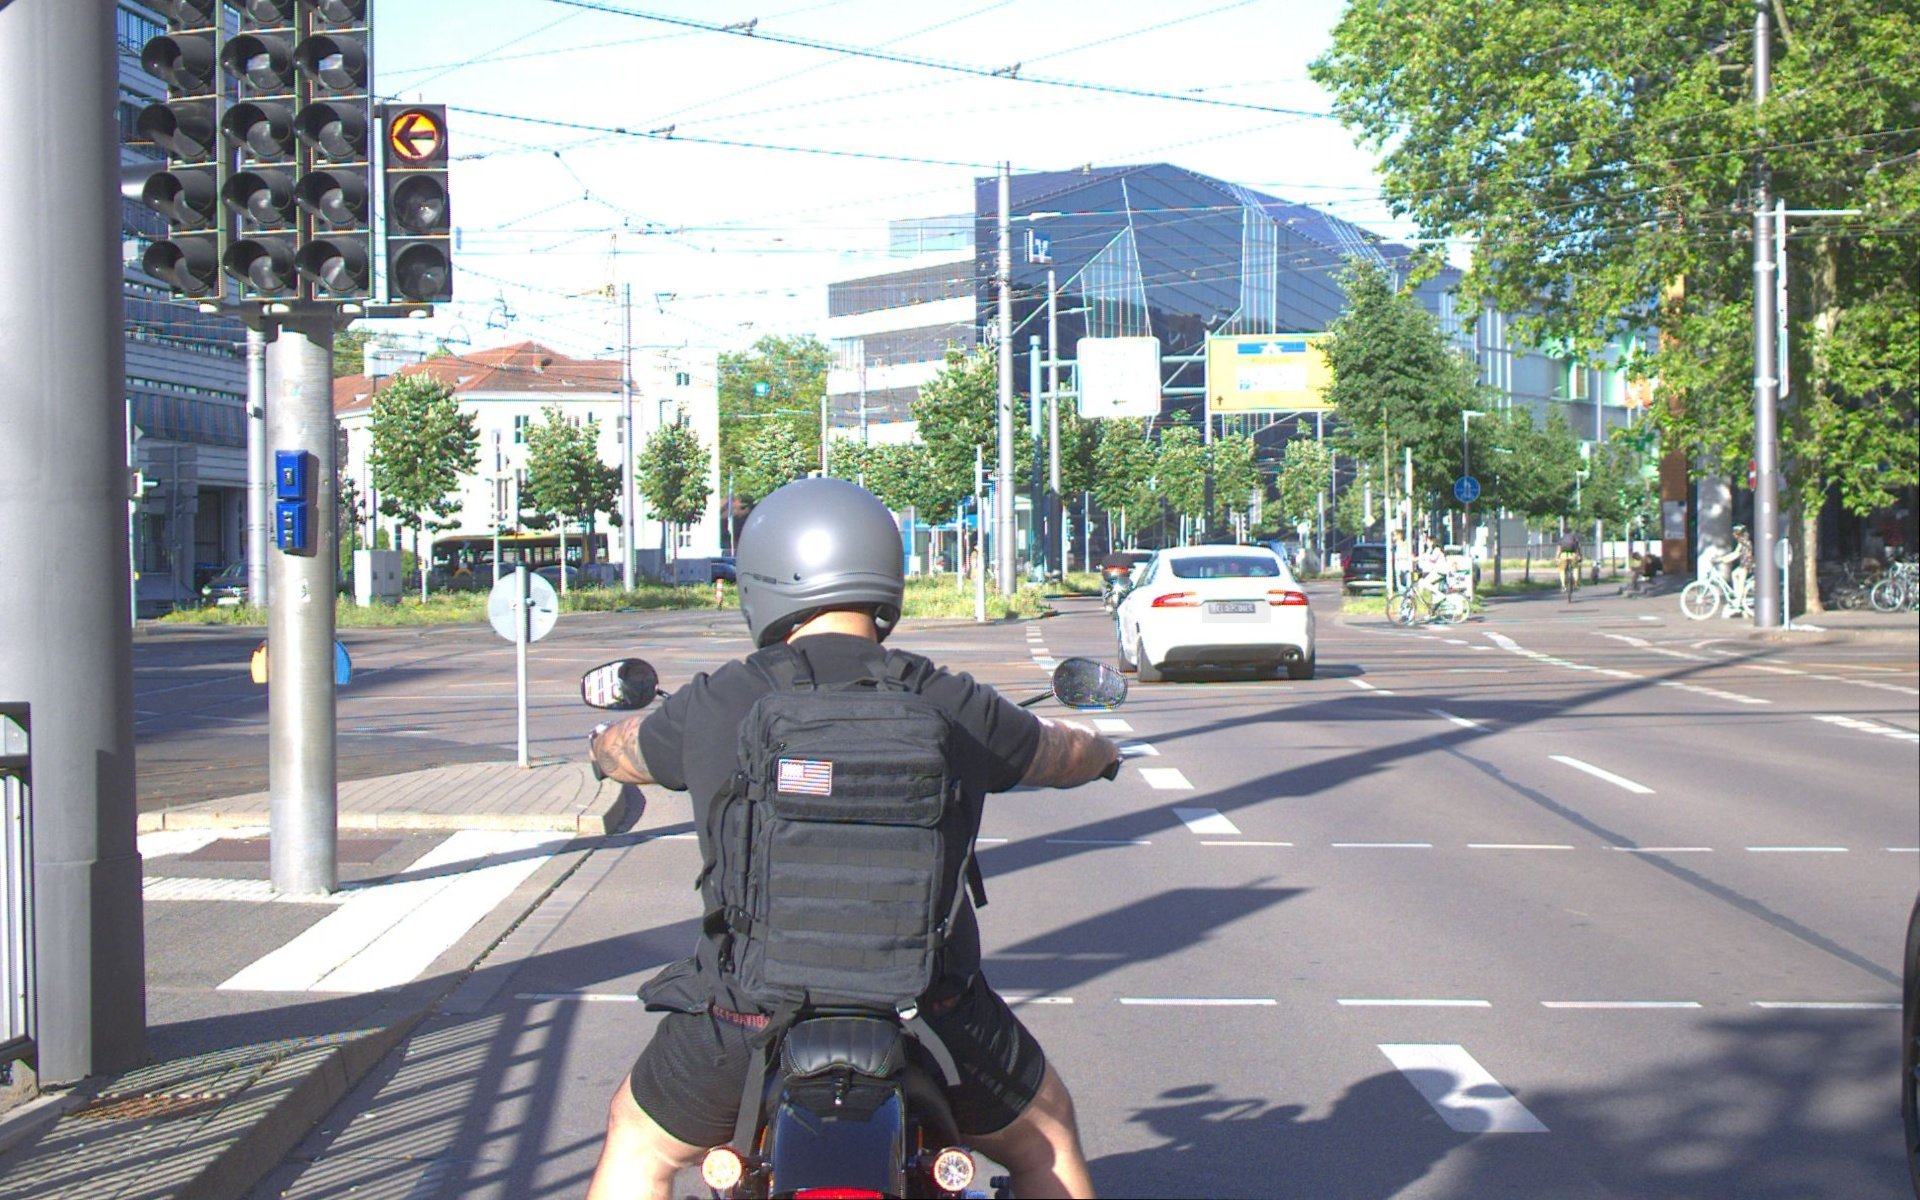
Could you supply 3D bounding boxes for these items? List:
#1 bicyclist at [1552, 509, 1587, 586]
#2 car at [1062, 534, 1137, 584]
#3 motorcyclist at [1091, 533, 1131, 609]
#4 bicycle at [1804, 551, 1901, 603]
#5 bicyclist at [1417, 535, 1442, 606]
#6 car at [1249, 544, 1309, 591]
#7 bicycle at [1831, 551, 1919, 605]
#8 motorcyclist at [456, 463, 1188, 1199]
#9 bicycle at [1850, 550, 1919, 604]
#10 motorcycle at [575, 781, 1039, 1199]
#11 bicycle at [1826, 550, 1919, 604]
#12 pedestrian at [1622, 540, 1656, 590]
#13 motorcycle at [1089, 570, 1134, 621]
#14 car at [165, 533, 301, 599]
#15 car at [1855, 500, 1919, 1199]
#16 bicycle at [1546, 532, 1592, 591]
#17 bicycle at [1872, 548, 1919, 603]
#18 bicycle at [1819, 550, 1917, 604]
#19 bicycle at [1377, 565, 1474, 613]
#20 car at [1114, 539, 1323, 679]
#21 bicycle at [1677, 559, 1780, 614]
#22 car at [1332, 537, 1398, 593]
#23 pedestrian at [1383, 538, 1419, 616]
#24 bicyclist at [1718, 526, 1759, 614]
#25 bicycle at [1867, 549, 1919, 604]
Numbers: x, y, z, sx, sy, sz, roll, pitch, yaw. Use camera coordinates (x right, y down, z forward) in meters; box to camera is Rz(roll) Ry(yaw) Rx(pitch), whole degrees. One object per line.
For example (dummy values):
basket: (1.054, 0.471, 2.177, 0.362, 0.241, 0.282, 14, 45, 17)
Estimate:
bicyclist: (14.376, -1.229, 81.072, 0.697, 1.802, 0.728, 1, 0, 4)
car: (4.238, -1.232, 104.092, 1.732, 1.452, 4.416, 1, 0, 9)
motorcyclist: (3.173, -0.615, 72.143, 0.796, 1.574, 0.529, 1, 0, 6)
bicycle: (18.344, -0.477, 70.640, 1.880, 1.043, 0.360, 1, 1, -1)
bicyclist: (9.152, -0.573, 67.066, 0.380, 1.368, 0.345, 1, 0, -9)
car: (11.855, -1.192, 127.645, 1.804, 1.672, 4.039, 1, 0, 11)
bicycle: (18.338, -0.439, 68.503, 1.880, 1.043, 0.360, 1, 0, -1)
motorcyclist: (-0.198, 0.595, 5.317, 1.030, 1.588, 0.873, 0, 1, -1)
bicycle: (18.416, -0.443, 67.315, 1.880, 1.043, 0.360, 1, 0, -1)
motorcycle: (-0.218, 0.896, 5.606, 0.600, 1.032, 2.234, 1, 1, -1)
bicycle: (18.372, -0.453, 68.989, 1.880, 1.043, 0.360, 1, 1, -1)
pedestrian: (17.895, -0.918, 90.608, 0.819, 1.309, 0.637, 1, 0, 9)
motorcycle: (3.204, -0.095, 72.472, 0.804, 1.047, 2.375, 1, 0, 6)
car: (-17.482, -0.803, 82.843, 1.750, 1.519, 3.998, 1, 0, 11)
car: (2.984, 0.635, 5.592, 1.803, 1.590, 4.453, 2, 1, -1)
bicycle: (14.379, -0.888, 81.199, 0.726, 1.362, 2.917, 1, 0, 3)
bicycle: (18.425, -0.459, 65.717, 1.880, 1.043, 0.360, 1, 0, -1)
bicycle: (18.350, -0.462, 69.489, 1.880, 1.043, 0.360, 1, 1, -1)
bicycle: (9.083, -0.215, 67.062, 1.825, 0.922, 0.358, 1, 0, -8)
car: (2.755, 0.057, 37.473, 1.803, 1.425, 4.453, 0, 1, -2)
bicycle: (14.580, -0.253, 65.230, 1.872, 1.040, 0.536, 0, 0, 19)
car: (13.319, -1.173, 112.881, 1.732, 1.726, 4.609, 1, 2, 12)
pedestrian: (8.813, -0.465, 68.742, 0.587, 1.551, 0.489, 1, 0, -8)
bicyclist: (14.759, -0.569, 65.177, 0.688, 1.667, 0.540, 0, 0, 19)
bicycle: (18.530, -0.450, 66.502, 1.880, 1.043, 0.360, 1, 0, -1)
